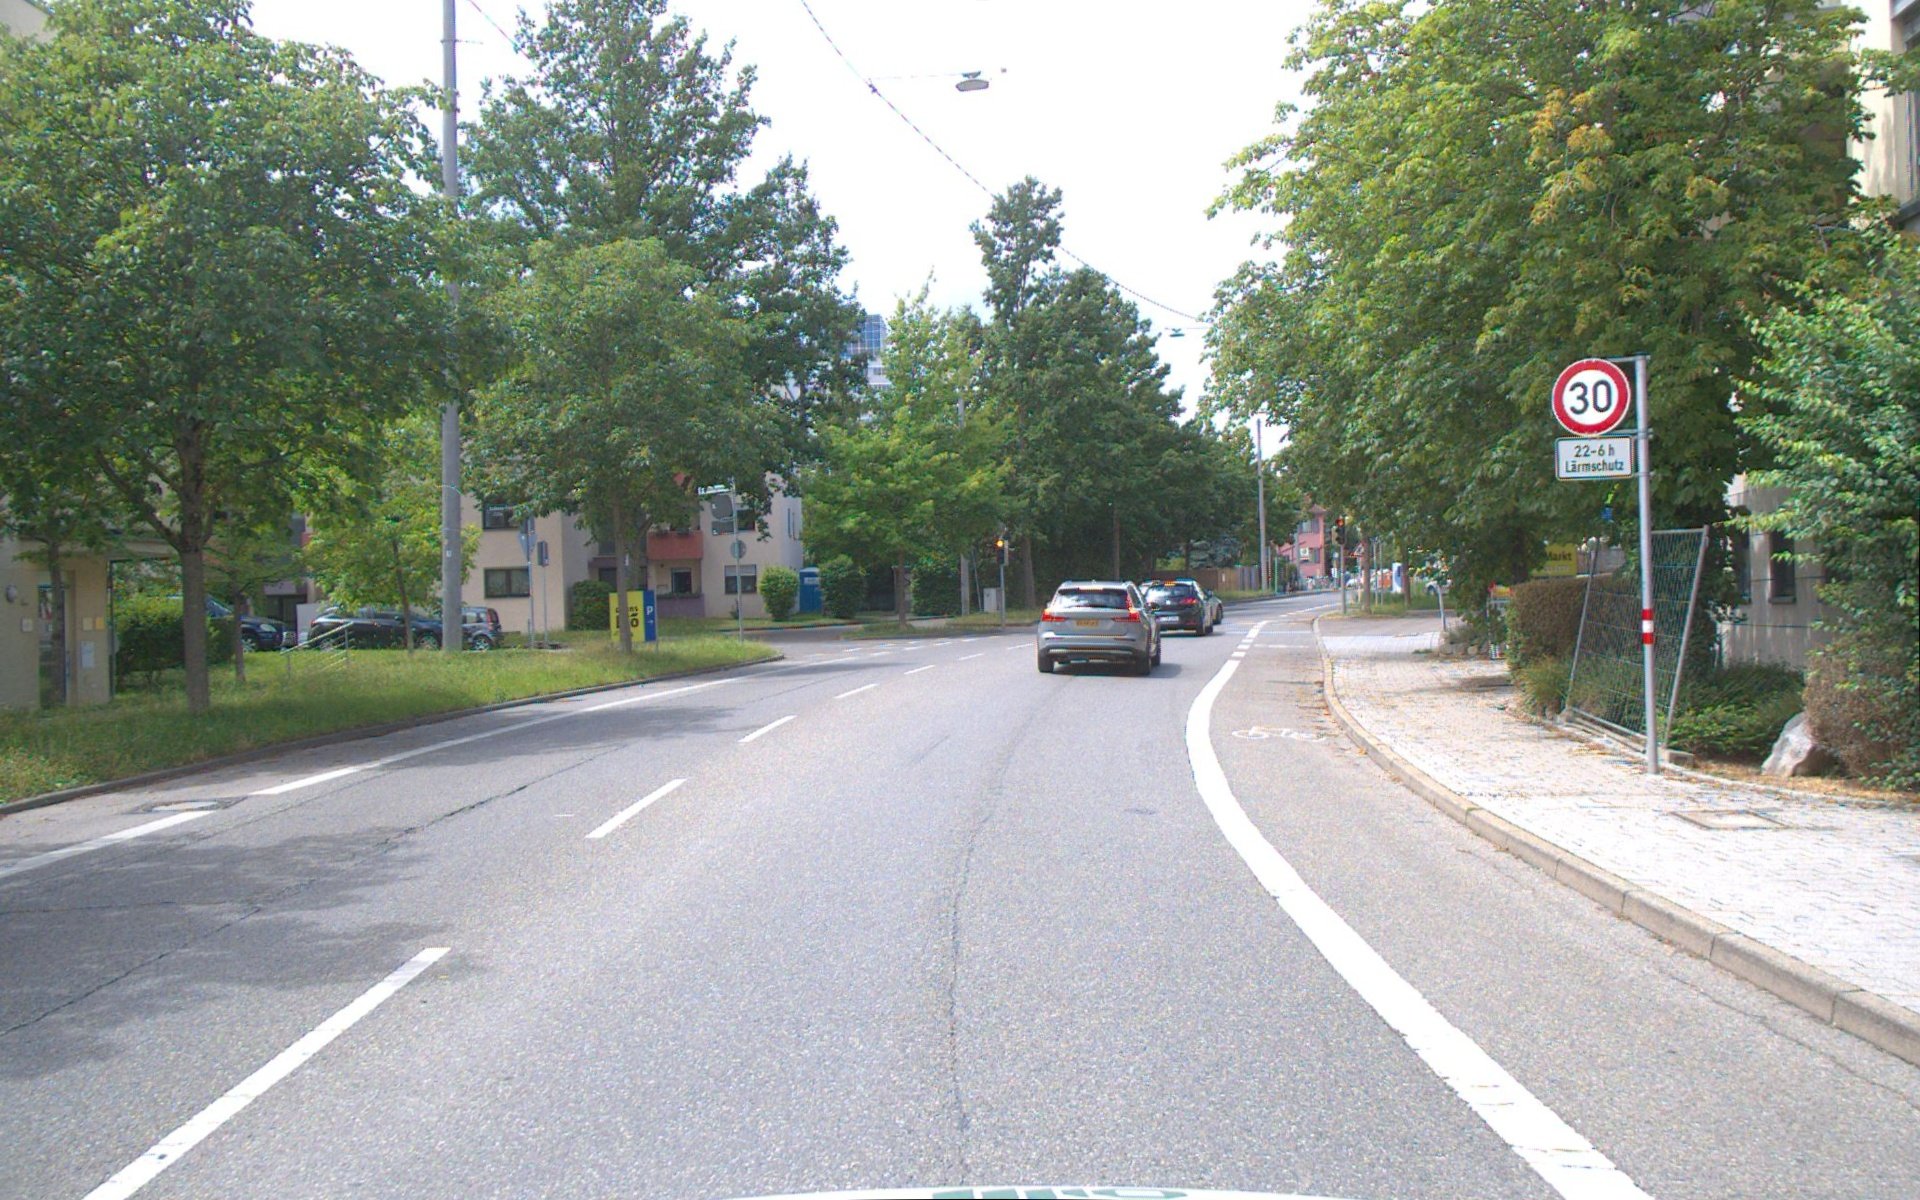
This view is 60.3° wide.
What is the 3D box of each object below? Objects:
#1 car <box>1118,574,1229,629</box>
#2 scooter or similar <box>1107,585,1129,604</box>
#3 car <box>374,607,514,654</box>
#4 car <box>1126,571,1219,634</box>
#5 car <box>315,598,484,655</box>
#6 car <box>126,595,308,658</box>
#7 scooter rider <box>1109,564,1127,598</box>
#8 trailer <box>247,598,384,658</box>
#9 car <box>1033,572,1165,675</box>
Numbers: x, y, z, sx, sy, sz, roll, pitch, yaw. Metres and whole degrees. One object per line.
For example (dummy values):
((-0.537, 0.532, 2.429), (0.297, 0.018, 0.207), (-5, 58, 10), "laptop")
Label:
((6.934, 0.069, 53.298), (1.773, 1.644, 4.315), (2, 0, 34), "car")
((8.254, -0.296, 86.526), (0.942, 0.978, 0.684), (-1, 0, -28), "scooter or similar")
((-16.793, 1.007, 53.979), (3.994, 1.424, 1.794), (-1, -4, -1), "car")
((5.749, 0.023, 44.340), (1.766, 1.549, 4.332), (2, 1, 16), "car")
((-15.247, 0.746, 45.129), (3.994, 1.424, 1.794), (-1, -4, -1), "car")
((-20.301, 0.709, 45.318), (4.091, 1.550, 1.901), (-2, 0, -1), "car")
((8.260, -0.998, 86.549), (0.697, 1.758, 0.674), (0, -1, -27), "scooter rider")
((-21.015, 0.935, 54.047), (3.828, 1.830, 1.629), (-1, -4, -3), "trailer")
((2.440, 0.329, 28.119), (1.914, 1.549, 4.333), (2, 1, 9), "car")
